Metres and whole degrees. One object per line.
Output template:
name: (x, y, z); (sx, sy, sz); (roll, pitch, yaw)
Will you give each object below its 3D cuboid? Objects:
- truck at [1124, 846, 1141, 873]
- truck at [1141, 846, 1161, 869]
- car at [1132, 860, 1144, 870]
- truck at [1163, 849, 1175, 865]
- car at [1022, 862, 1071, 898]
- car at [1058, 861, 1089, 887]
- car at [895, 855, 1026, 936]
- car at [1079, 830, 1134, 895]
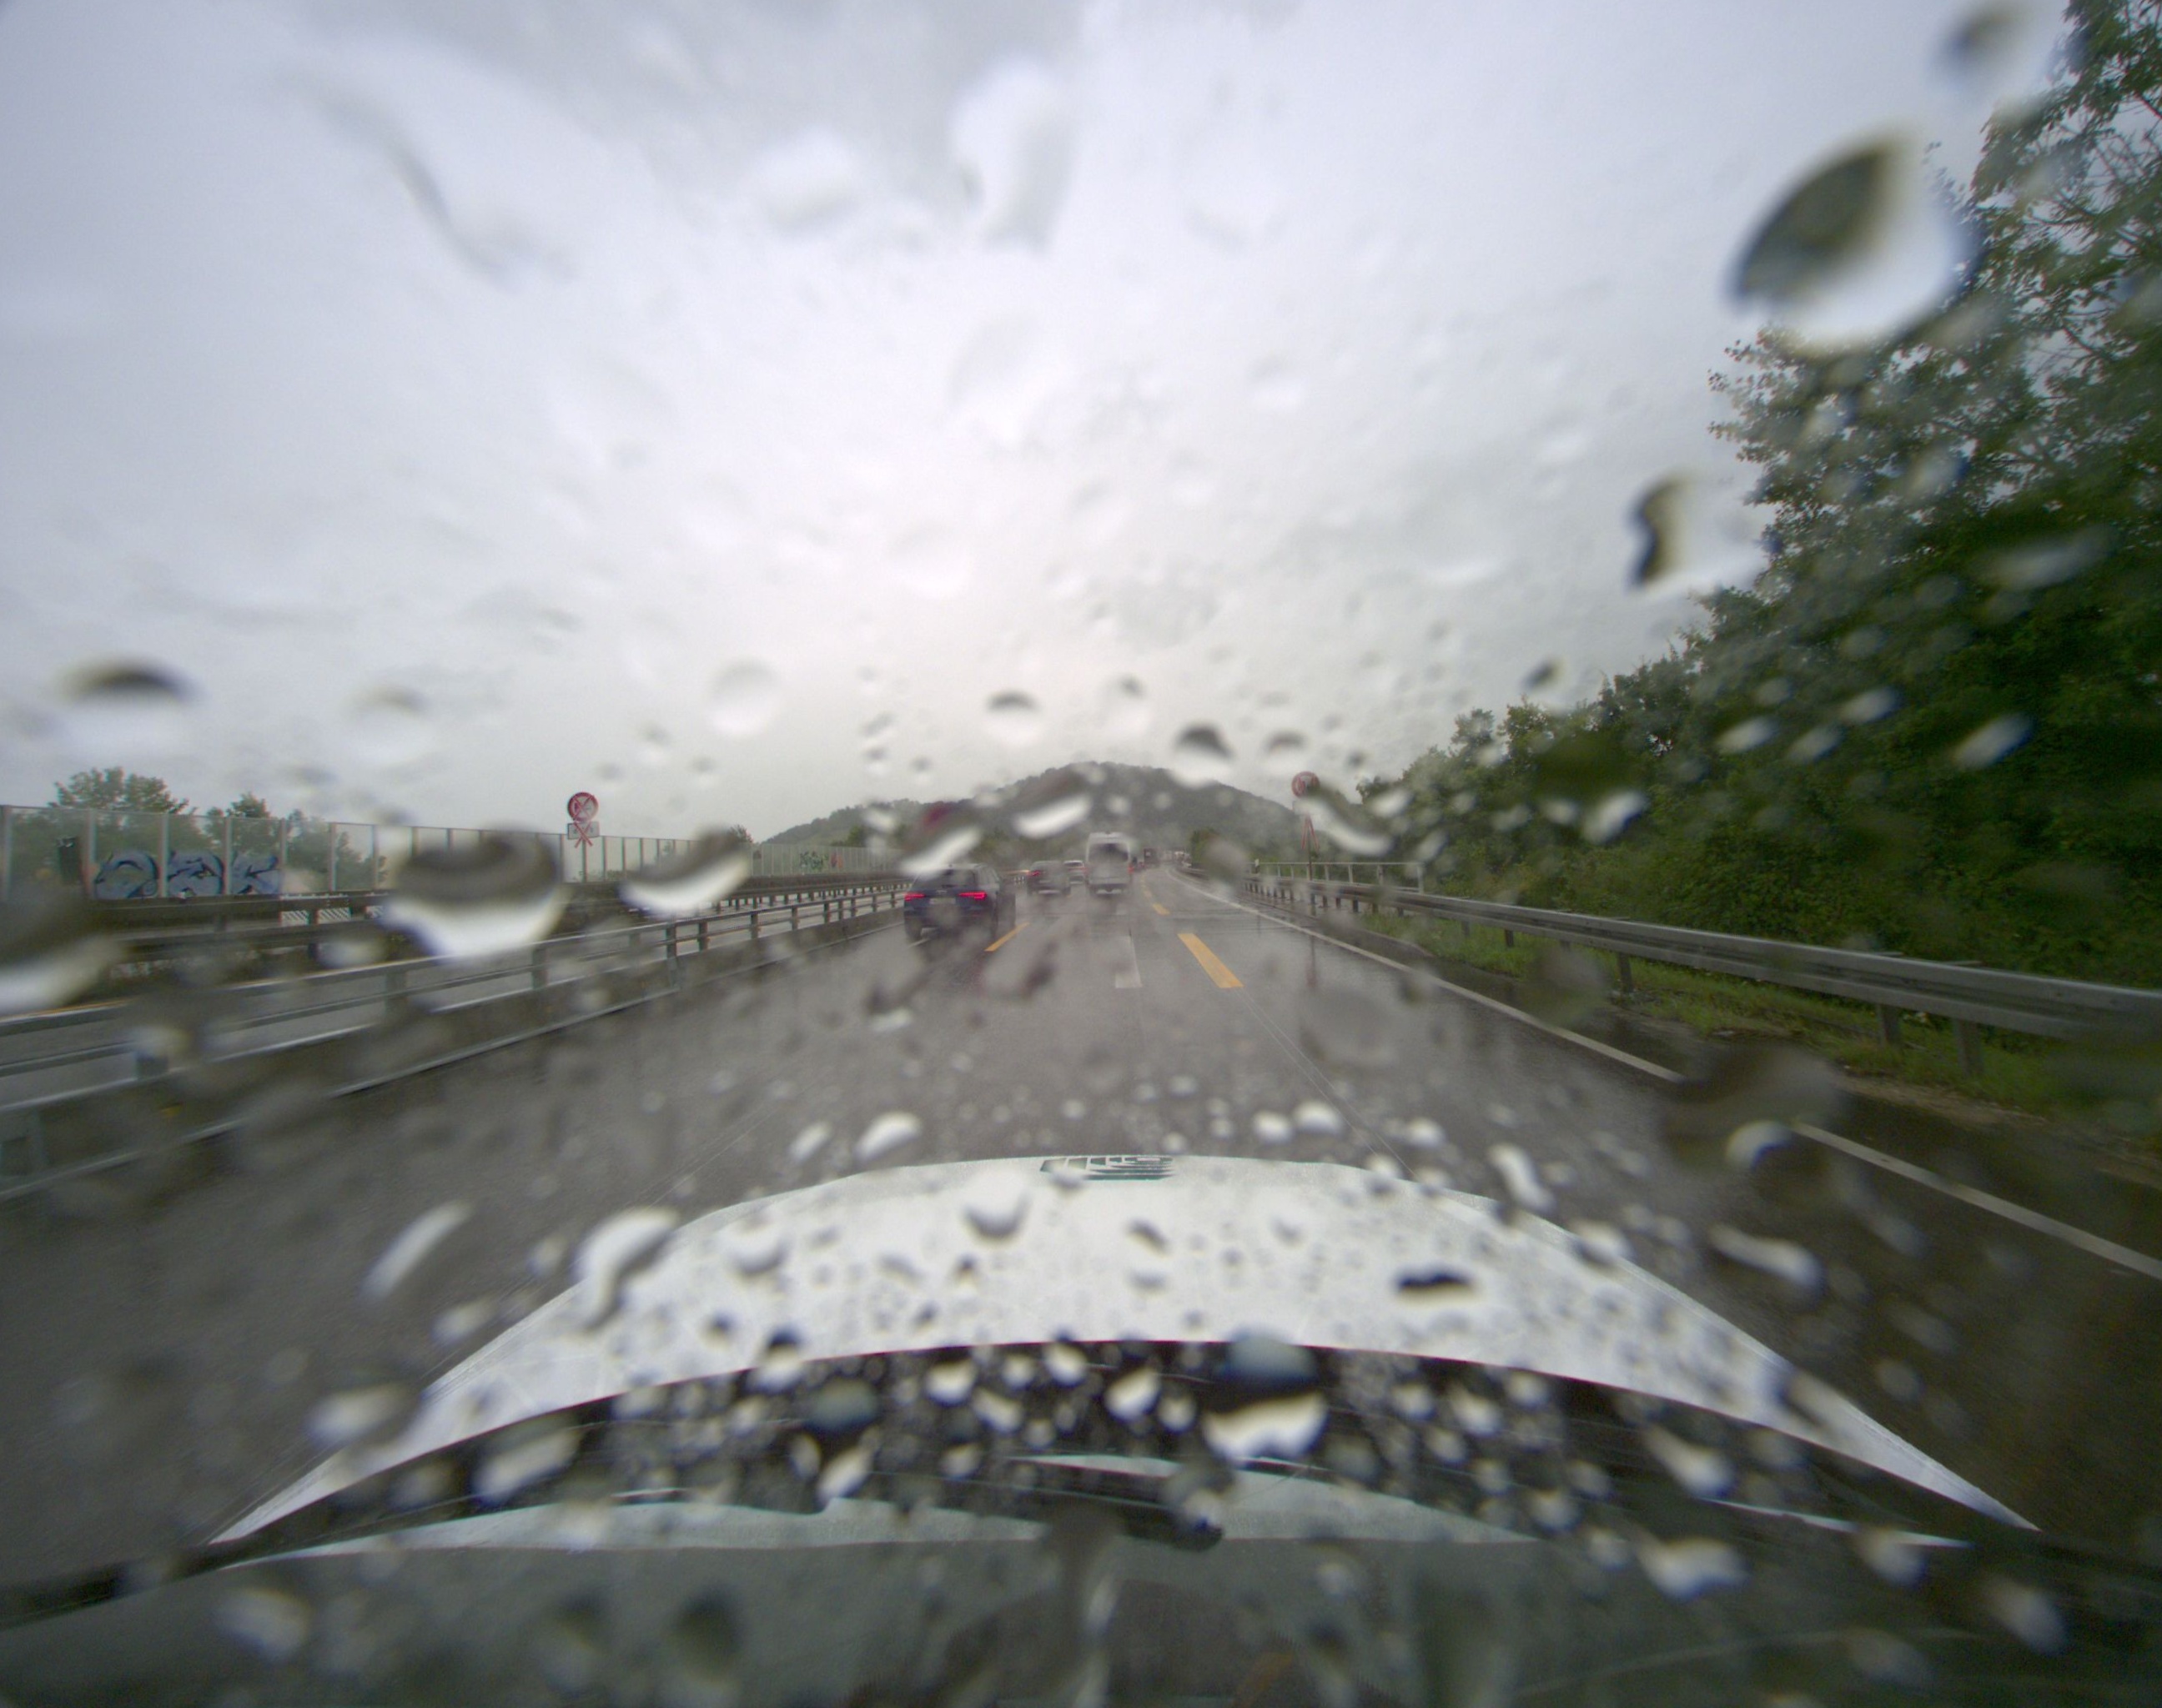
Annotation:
truck: (6.218, 0.679, 99.264); (1.985, 3.109, 8.504); (0, -1, 3)
truck: (13.993, 0.719, 161.435); (3.563, 4.407, 9.640); (0, -1, 6)
car: (8.322, 1.579, 118.484); (1.765, 1.475, 4.005); (0, -1, 5)
truck: (25.124, 0.783, 232.681); (3.018, 4.407, 9.646); (-1, -1, 9)
car: (-1.560, 1.169, 38.182); (1.986, 1.585, 4.414); (0, -1, 1)
car: (-0.498, 1.317, 54.422); (1.988, 1.617, 4.794); (0, -1, -1)
car: (-2.404, 0.807, 17.496); (1.986, 1.498, 4.632); (-1, -1, 1)
car: (1.120, 0.369, 35.066); (2.136, 2.571, 5.392); (0, -1, 2)
